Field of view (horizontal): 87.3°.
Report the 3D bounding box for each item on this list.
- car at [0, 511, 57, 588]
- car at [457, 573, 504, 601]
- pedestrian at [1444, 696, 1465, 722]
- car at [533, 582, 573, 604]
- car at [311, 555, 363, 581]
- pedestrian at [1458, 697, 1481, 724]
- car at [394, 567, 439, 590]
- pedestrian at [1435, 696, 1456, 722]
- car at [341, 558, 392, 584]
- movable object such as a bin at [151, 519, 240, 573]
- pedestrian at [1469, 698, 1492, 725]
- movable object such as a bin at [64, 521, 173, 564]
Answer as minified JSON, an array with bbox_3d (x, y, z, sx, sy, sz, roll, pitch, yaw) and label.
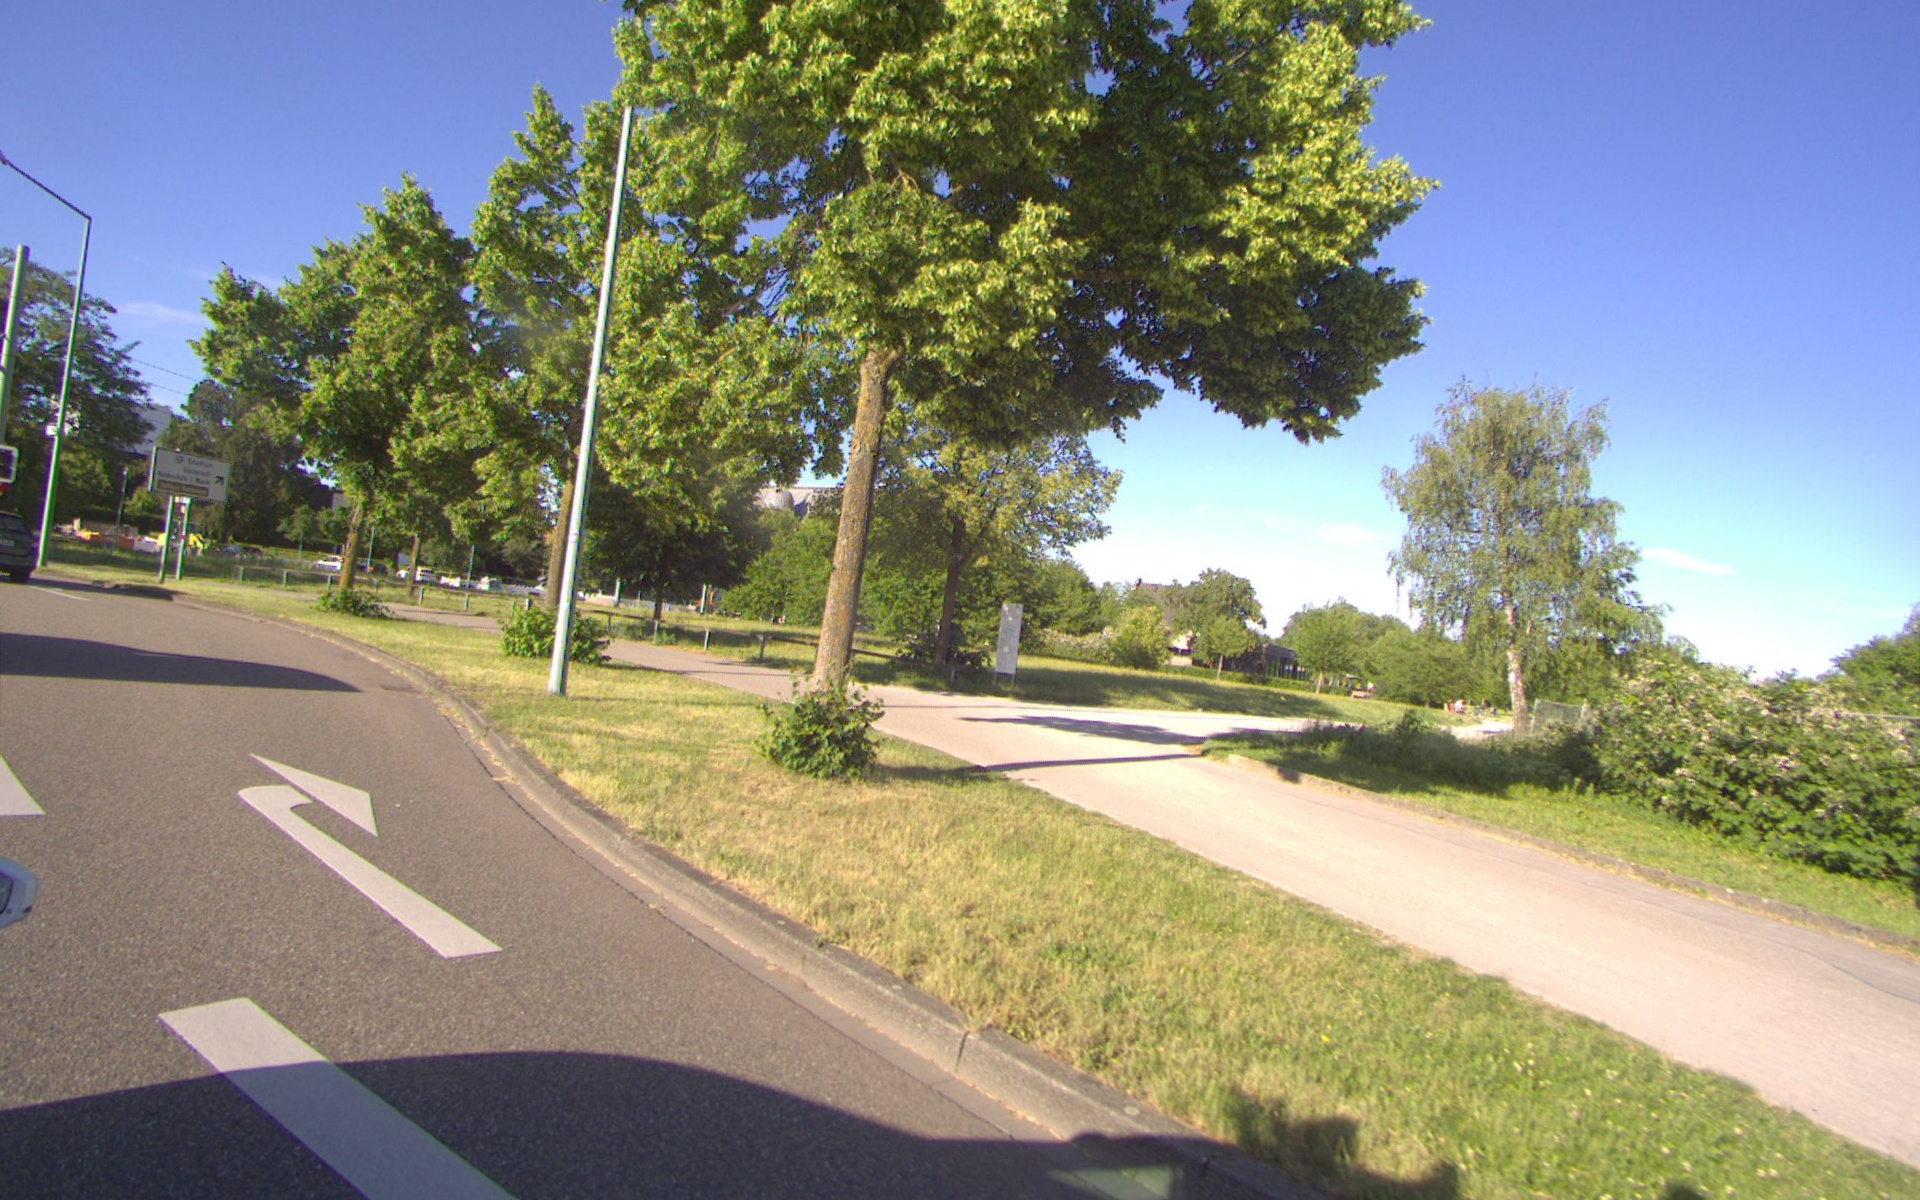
[{"bbox_3d":[-20.999,-1.257,21.052,4.079,1.452,1.719,6,-2,28],"label":"car"},{"bbox_3d":[-43.704,-1.161,91.669,3.937,2.122,1.997,4,-4,33],"label":"car"},{"bbox_3d":[30.210,6.678,61.454,0.781,1.457,0.686,7,-1,-11],"label":"pedestrian"},{"bbox_3d":[-39.755,-0.642,98.204,3.790,1.799,1.690,3,-4,37],"label":"car"},{"bbox_3d":[-50.790,-2.627,81.977,3.937,1.742,1.997,4,-4,33],"label":"car"},{"bbox_3d":[30.704,6.670,60.583,0.781,1.457,0.773,7,-1,-11],"label":"pedestrian"},{"bbox_3d":[-46.975,-1.851,86.886,3.748,1.573,1.830,3,-4,35],"label":"car"},{"bbox_3d":[30.272,6.779,62.763,0.781,1.457,0.686,7,-1,-11],"label":"pedestrian"},{"bbox_3d":[-49.338,-2.393,83.597,3.937,1.788,1.997,4,-4,33],"label":"car"},{"bbox_3d":[-48.076,-3.400,63.269,4.956,2.819,2.002,5,-3,23],"label":"movable object such as a bin"},{"bbox_3d":[30.663,6.571,59.265,0.781,1.457,0.661,7,-1,-11],"label":"pedestrian"},{"bbox_3d":[-56.555,-3.845,67.688,2.200,1.969,5.024,4,-4,25],"label":"movable object such as a bin"}]
